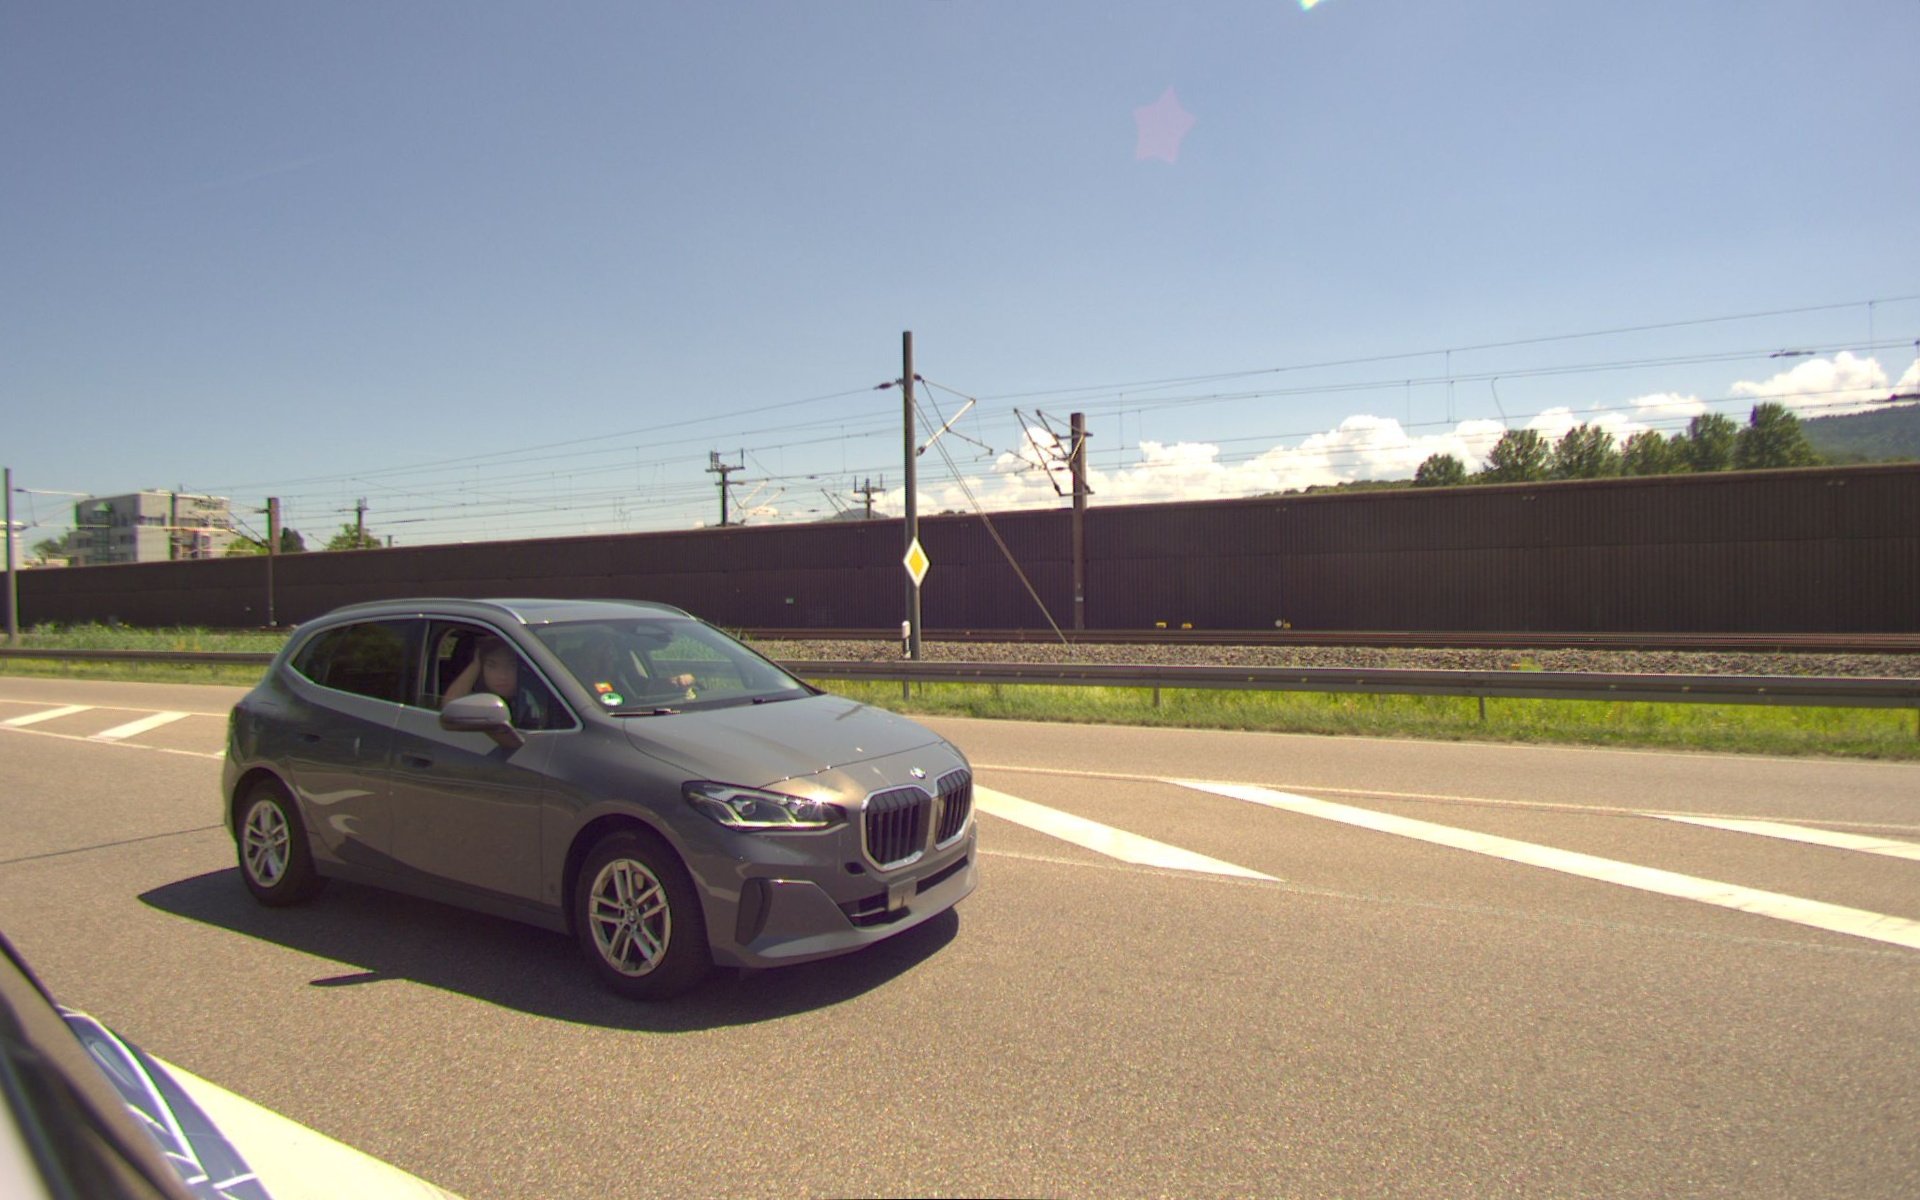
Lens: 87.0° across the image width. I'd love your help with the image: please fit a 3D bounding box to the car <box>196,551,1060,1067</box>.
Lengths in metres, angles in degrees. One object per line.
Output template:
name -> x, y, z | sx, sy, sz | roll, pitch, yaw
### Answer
car -> -1.794, 0.702, 5.089 | 4.209, 1.635, 1.831 | -1, -1, 31
